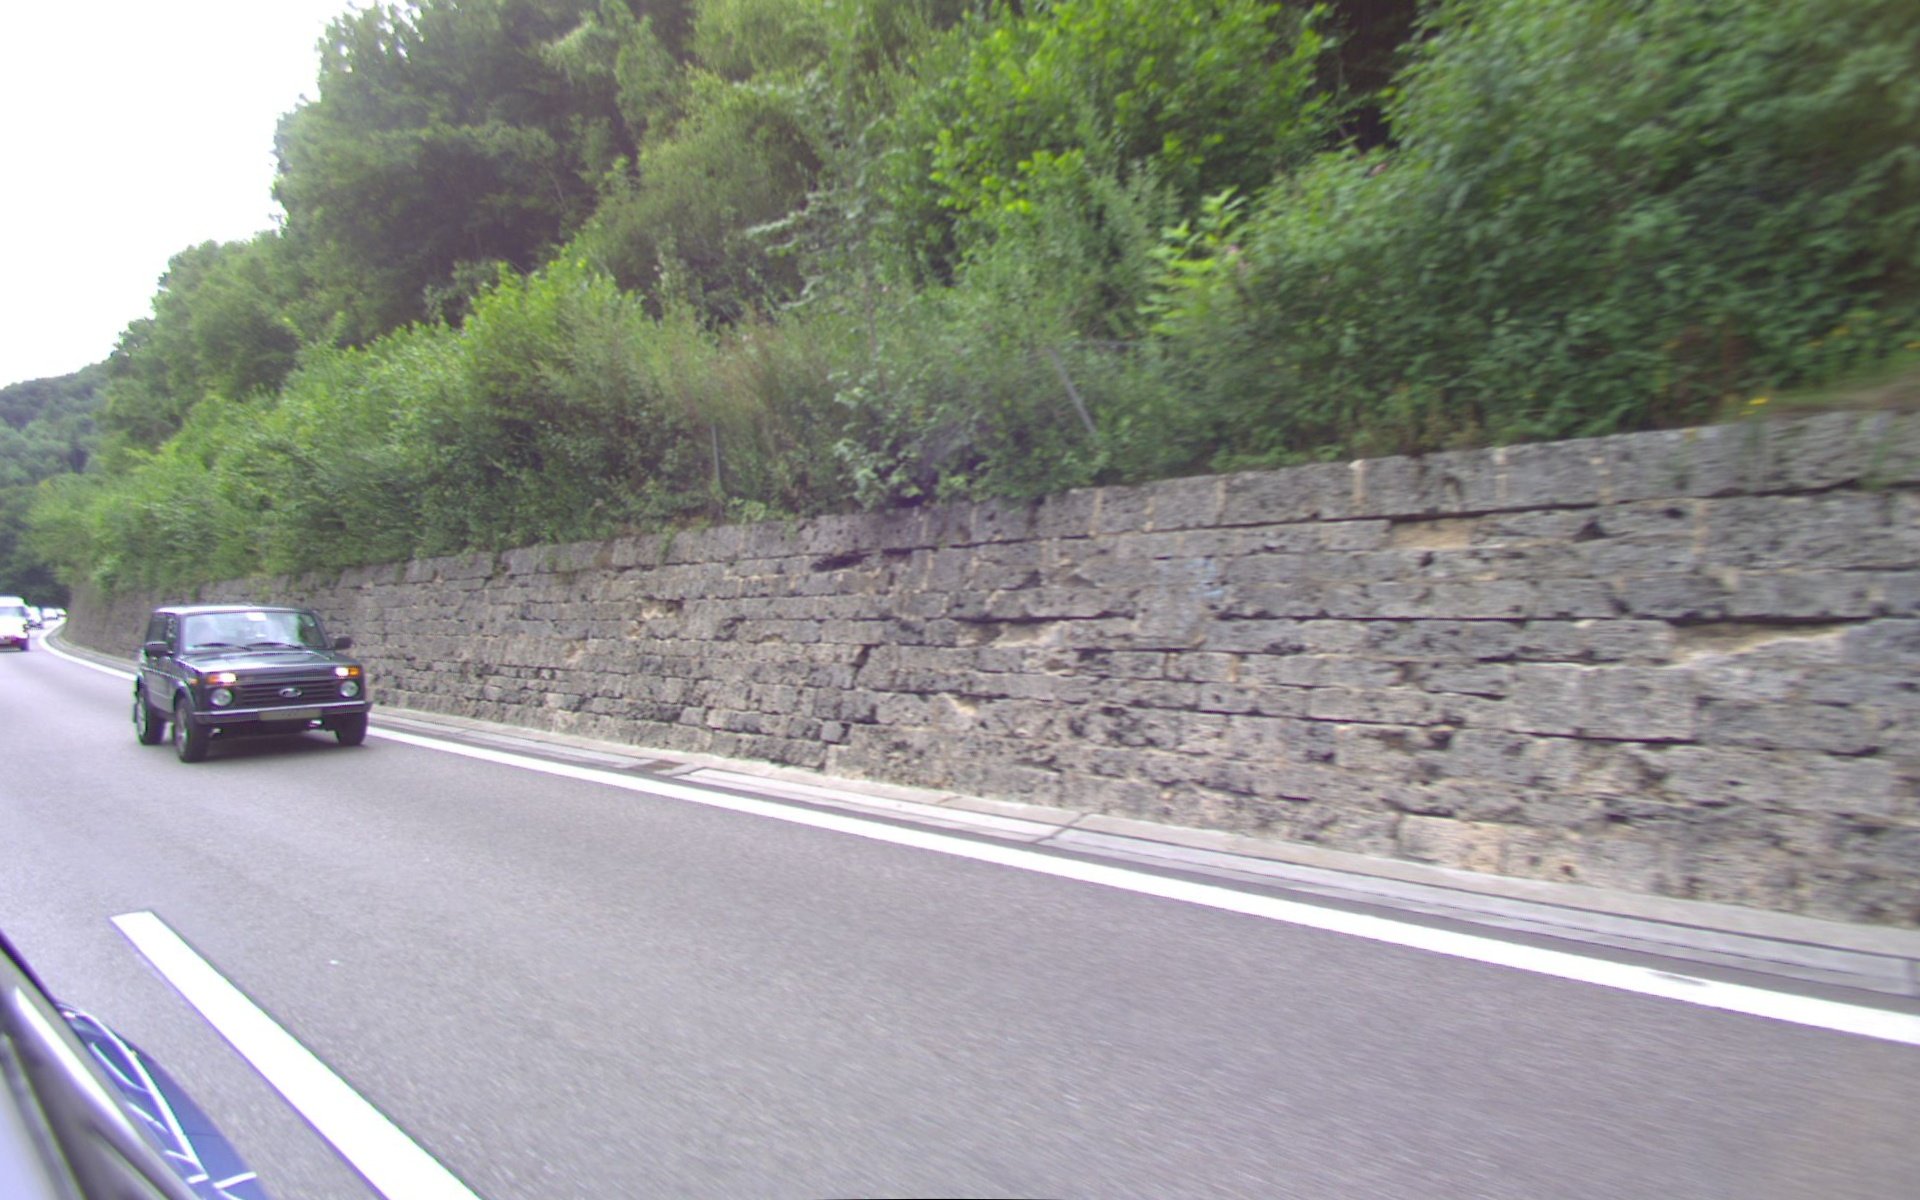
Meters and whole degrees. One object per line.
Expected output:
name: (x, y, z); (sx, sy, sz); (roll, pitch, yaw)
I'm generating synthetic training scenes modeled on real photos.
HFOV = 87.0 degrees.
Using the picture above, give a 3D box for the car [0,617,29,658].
car: (-41.671, 1.629, 43.820); (4.585, 1.668, 1.788); (-1, 0, 45)

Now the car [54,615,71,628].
car: (-159.442, 3.755, 179.787); (1.971, 2.027, 4.004); (-9, 6, -43)

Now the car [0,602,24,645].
car: (-60.804, 1.484, 64.198); (1.948, 2.663, 4.586); (0, -1, -44)

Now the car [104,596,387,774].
car: (-8.529, 0.838, 11.901); (4.583, 1.668, 1.789); (-1, 1, 43)

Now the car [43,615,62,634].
car: (-126.323, 3.370, 140.857); (1.947, 2.580, 4.589); (0, -1, -41)
